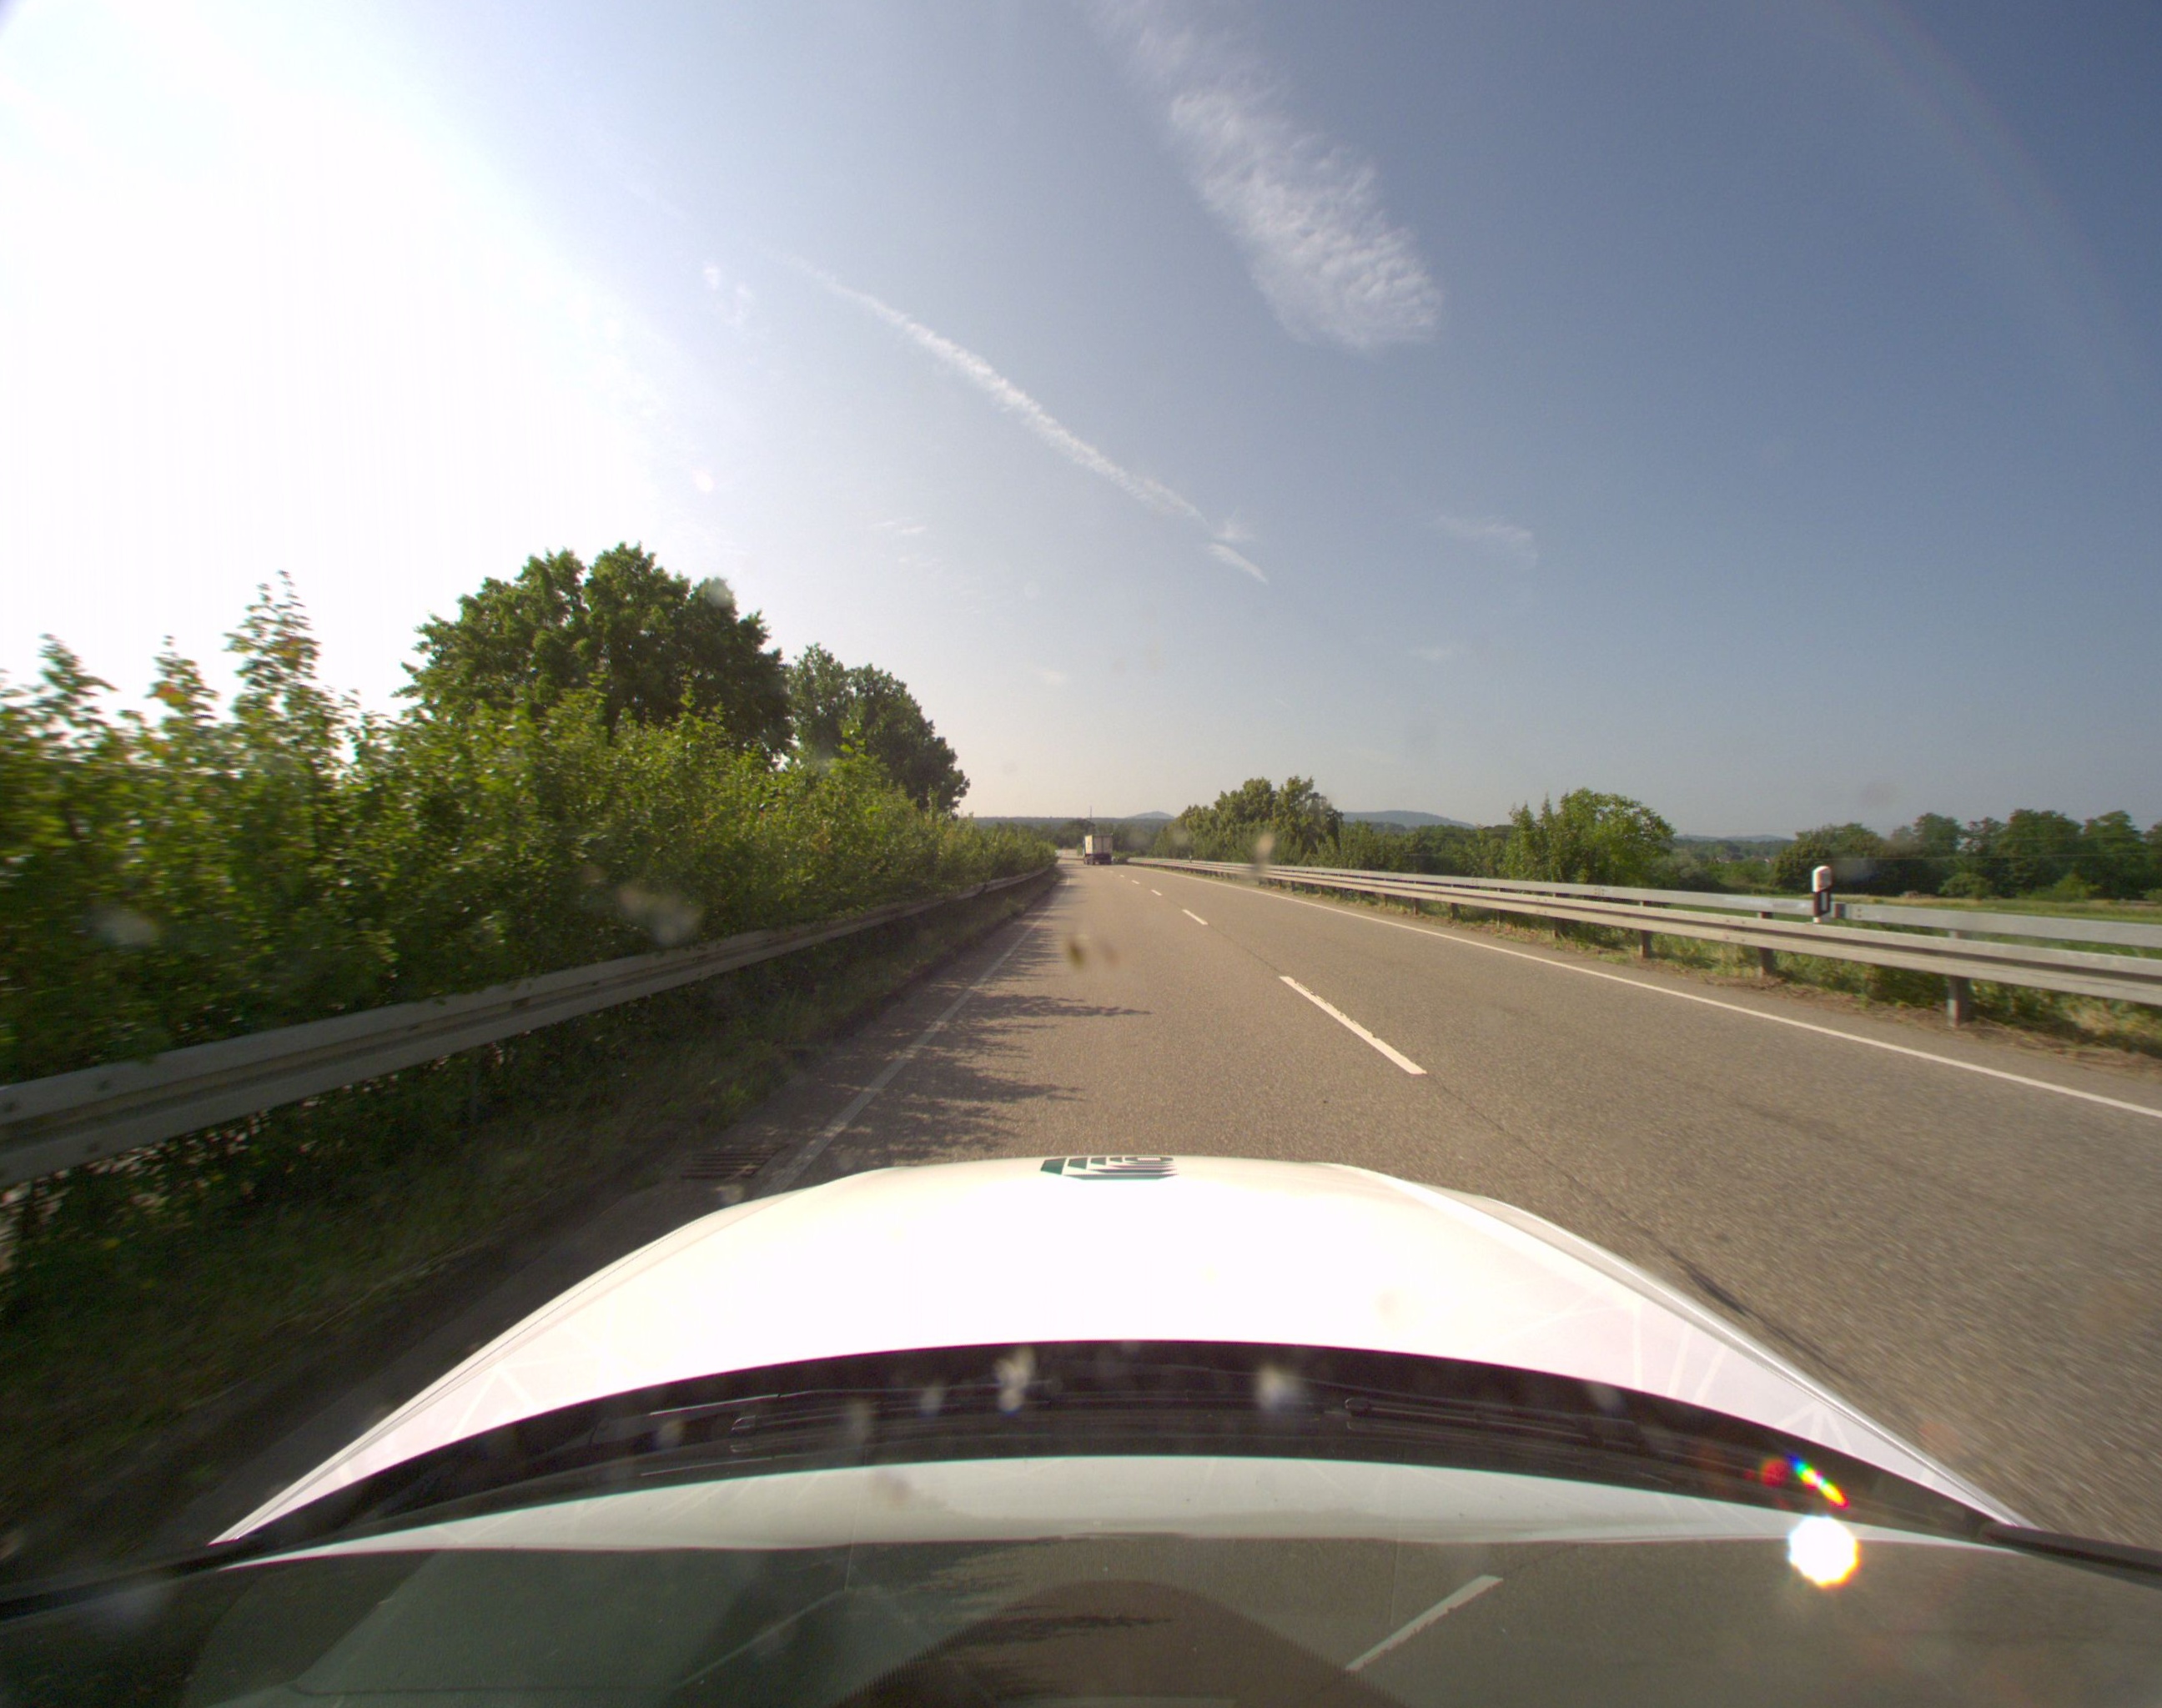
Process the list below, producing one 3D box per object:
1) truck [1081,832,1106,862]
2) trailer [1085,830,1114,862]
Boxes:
[{"bbox_3d":[1.696,-0.989,111.921,2.655,3.896,5.636,-1,0,-6],"label":"truck"},{"bbox_3d":[2.308,-0.978,105.846,2.675,3.907,9.653,-2,0,-5],"label":"trailer"}]
